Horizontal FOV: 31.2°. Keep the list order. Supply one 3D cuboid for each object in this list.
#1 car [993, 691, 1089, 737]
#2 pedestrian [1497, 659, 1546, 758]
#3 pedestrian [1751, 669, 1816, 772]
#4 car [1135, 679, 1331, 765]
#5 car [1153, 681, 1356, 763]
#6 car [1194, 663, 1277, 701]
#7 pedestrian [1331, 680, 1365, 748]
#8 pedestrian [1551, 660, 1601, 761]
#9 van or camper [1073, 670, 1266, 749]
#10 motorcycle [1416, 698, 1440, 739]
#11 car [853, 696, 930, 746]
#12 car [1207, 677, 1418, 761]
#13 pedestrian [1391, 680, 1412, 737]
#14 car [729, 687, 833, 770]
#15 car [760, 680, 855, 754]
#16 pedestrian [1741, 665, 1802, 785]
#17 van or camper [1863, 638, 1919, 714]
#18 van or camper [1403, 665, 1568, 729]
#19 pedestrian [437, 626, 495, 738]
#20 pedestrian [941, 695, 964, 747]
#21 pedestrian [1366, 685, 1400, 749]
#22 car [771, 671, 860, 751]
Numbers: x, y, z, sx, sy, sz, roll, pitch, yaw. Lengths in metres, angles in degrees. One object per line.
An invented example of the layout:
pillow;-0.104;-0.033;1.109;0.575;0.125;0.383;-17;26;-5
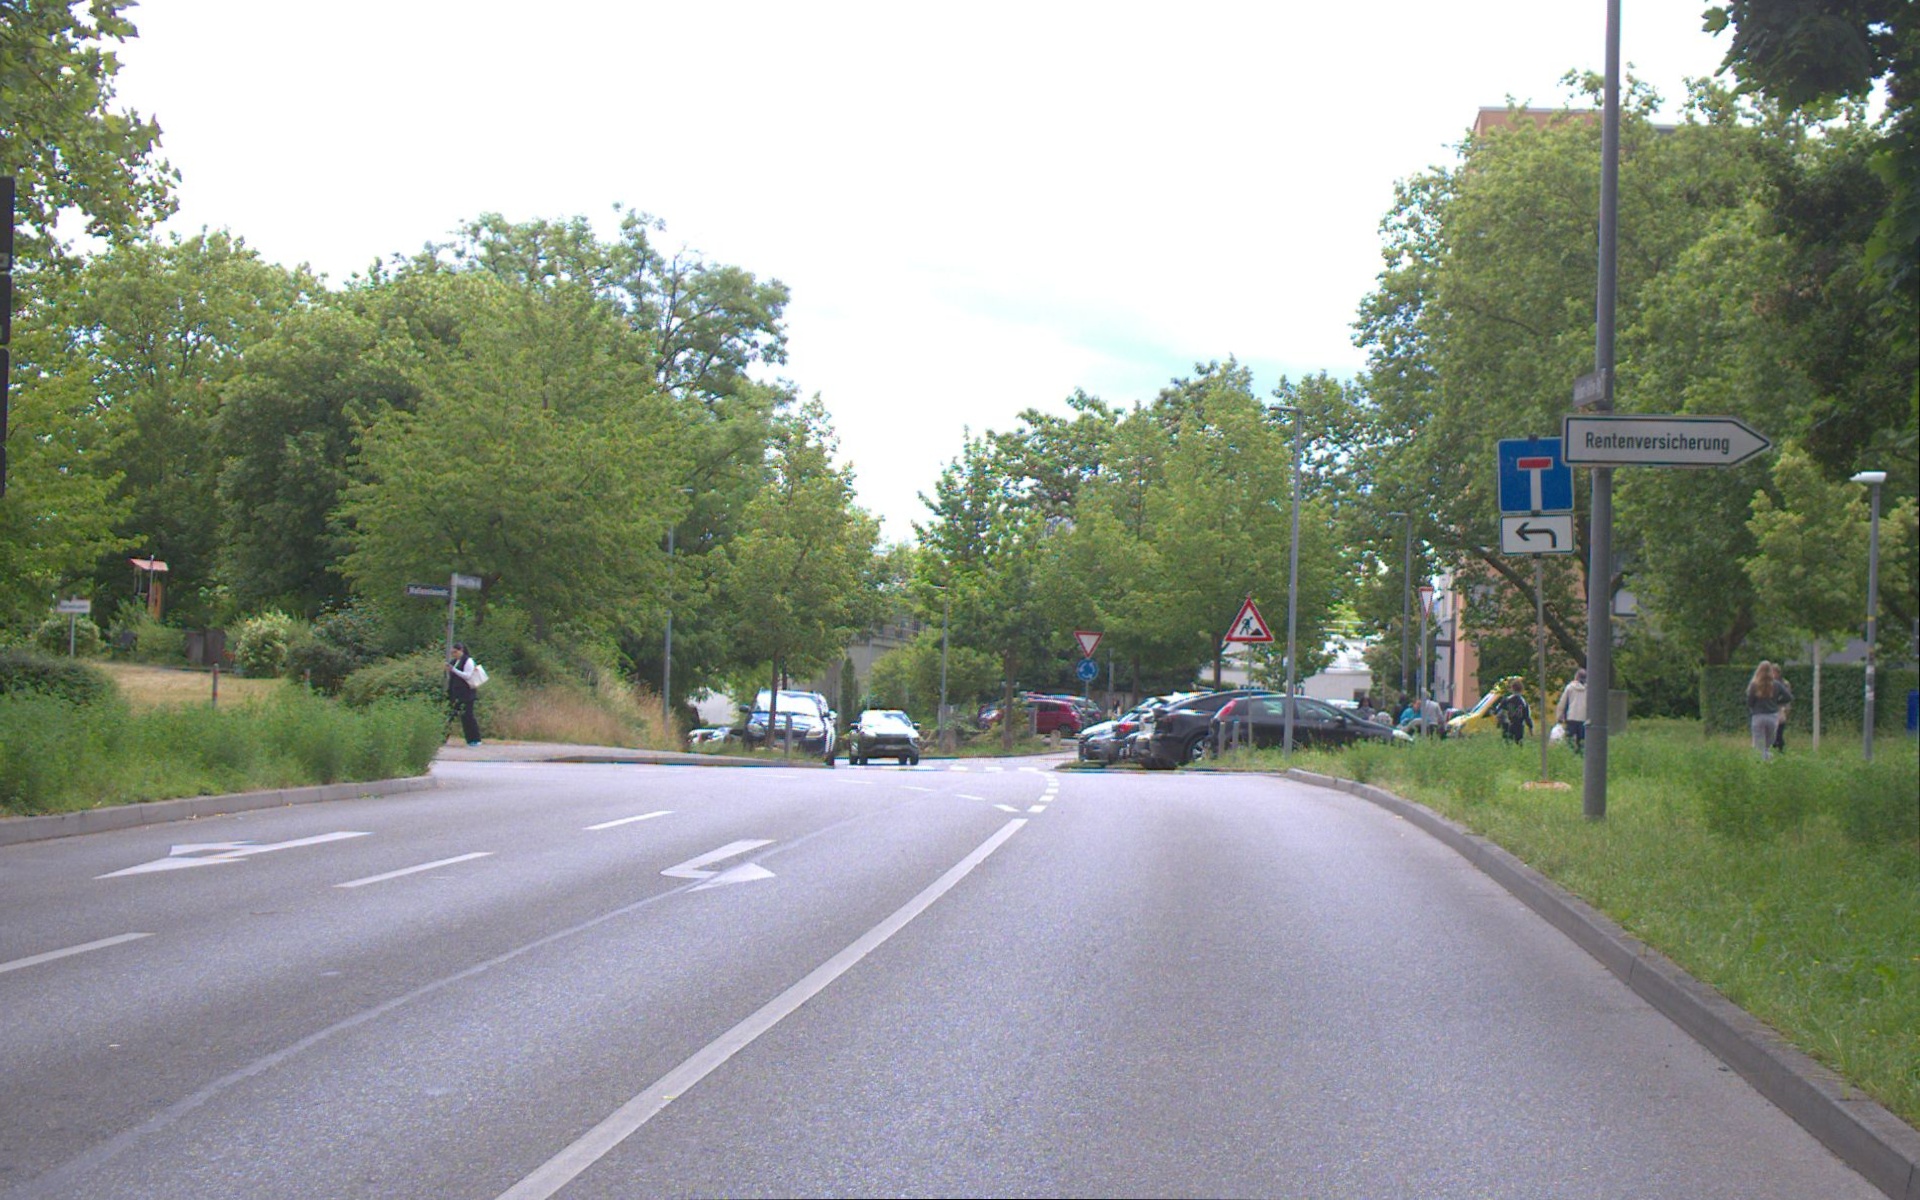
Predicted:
car;3.155;4.421;133.894;3.539;1.648;1.621;2;-1;-3
pedestrian;10.034;1.934;61.381;0.775;1.717;0.823;2;0;12
pedestrian;13.838;2.017;57.753;0.776;1.689;0.821;2;0;36
car;5.590;2.512;70.542;3.922;1.625;1.771;1;-4;4
car;5.799;2.413;67.793;3.922;1.495;1.771;1;-4;4
car;13.047;3.873;162.997;3.539;1.648;1.622;2;-1;-15
pedestrian;8.856;2.600;78.527;0.690;1.499;0.753;2;-1;4
pedestrian;10.828;1.931;60.449;0.801;1.717;0.823;2;0;8
van or camper;5.295;2.763;87.242;4.672;1.863;1.772;1;0;-3
motorcycle;9.708;2.457;71.355;0.453;0.791;1.263;1;0;6
car;-2.118;3.679;104.895;1.974;1.459;3.935;1;-2;-6
car;6.684;2.282;65.485;3.922;1.463;1.771;1;-4;4
pedestrian;9.196;2.263;71.629;0.396;1.148;0.485;2;0;5
car;-3.515;2.513;67.941;1.766;1.495;3.934;1;-1;1
car;-3.220;2.473;73.080;1.766;1.495;3.934;1;-1;1
pedestrian;11.072;1.694;46.916;0.775;1.591;0.823;1;0;13
van or camper;26.137;2.020;89.658;4.681;1.908;1.768;1;0;34
van or camper;17.914;3.299;117.365;5.292;2.035;2.060;1;0;0
pedestrian;-7.756;1.280;53.980;0.820;1.717;0.777;1;0;-10
pedestrian;-0.279;4.354;123.754;0.721;1.858;0.651;1;0;-7
pedestrian;9.653;2.668;78.506;0.690;1.420;0.753;2;-1;4
car;-3.292;2.529;78.905;1.766;1.747;3.934;1;-1;1
